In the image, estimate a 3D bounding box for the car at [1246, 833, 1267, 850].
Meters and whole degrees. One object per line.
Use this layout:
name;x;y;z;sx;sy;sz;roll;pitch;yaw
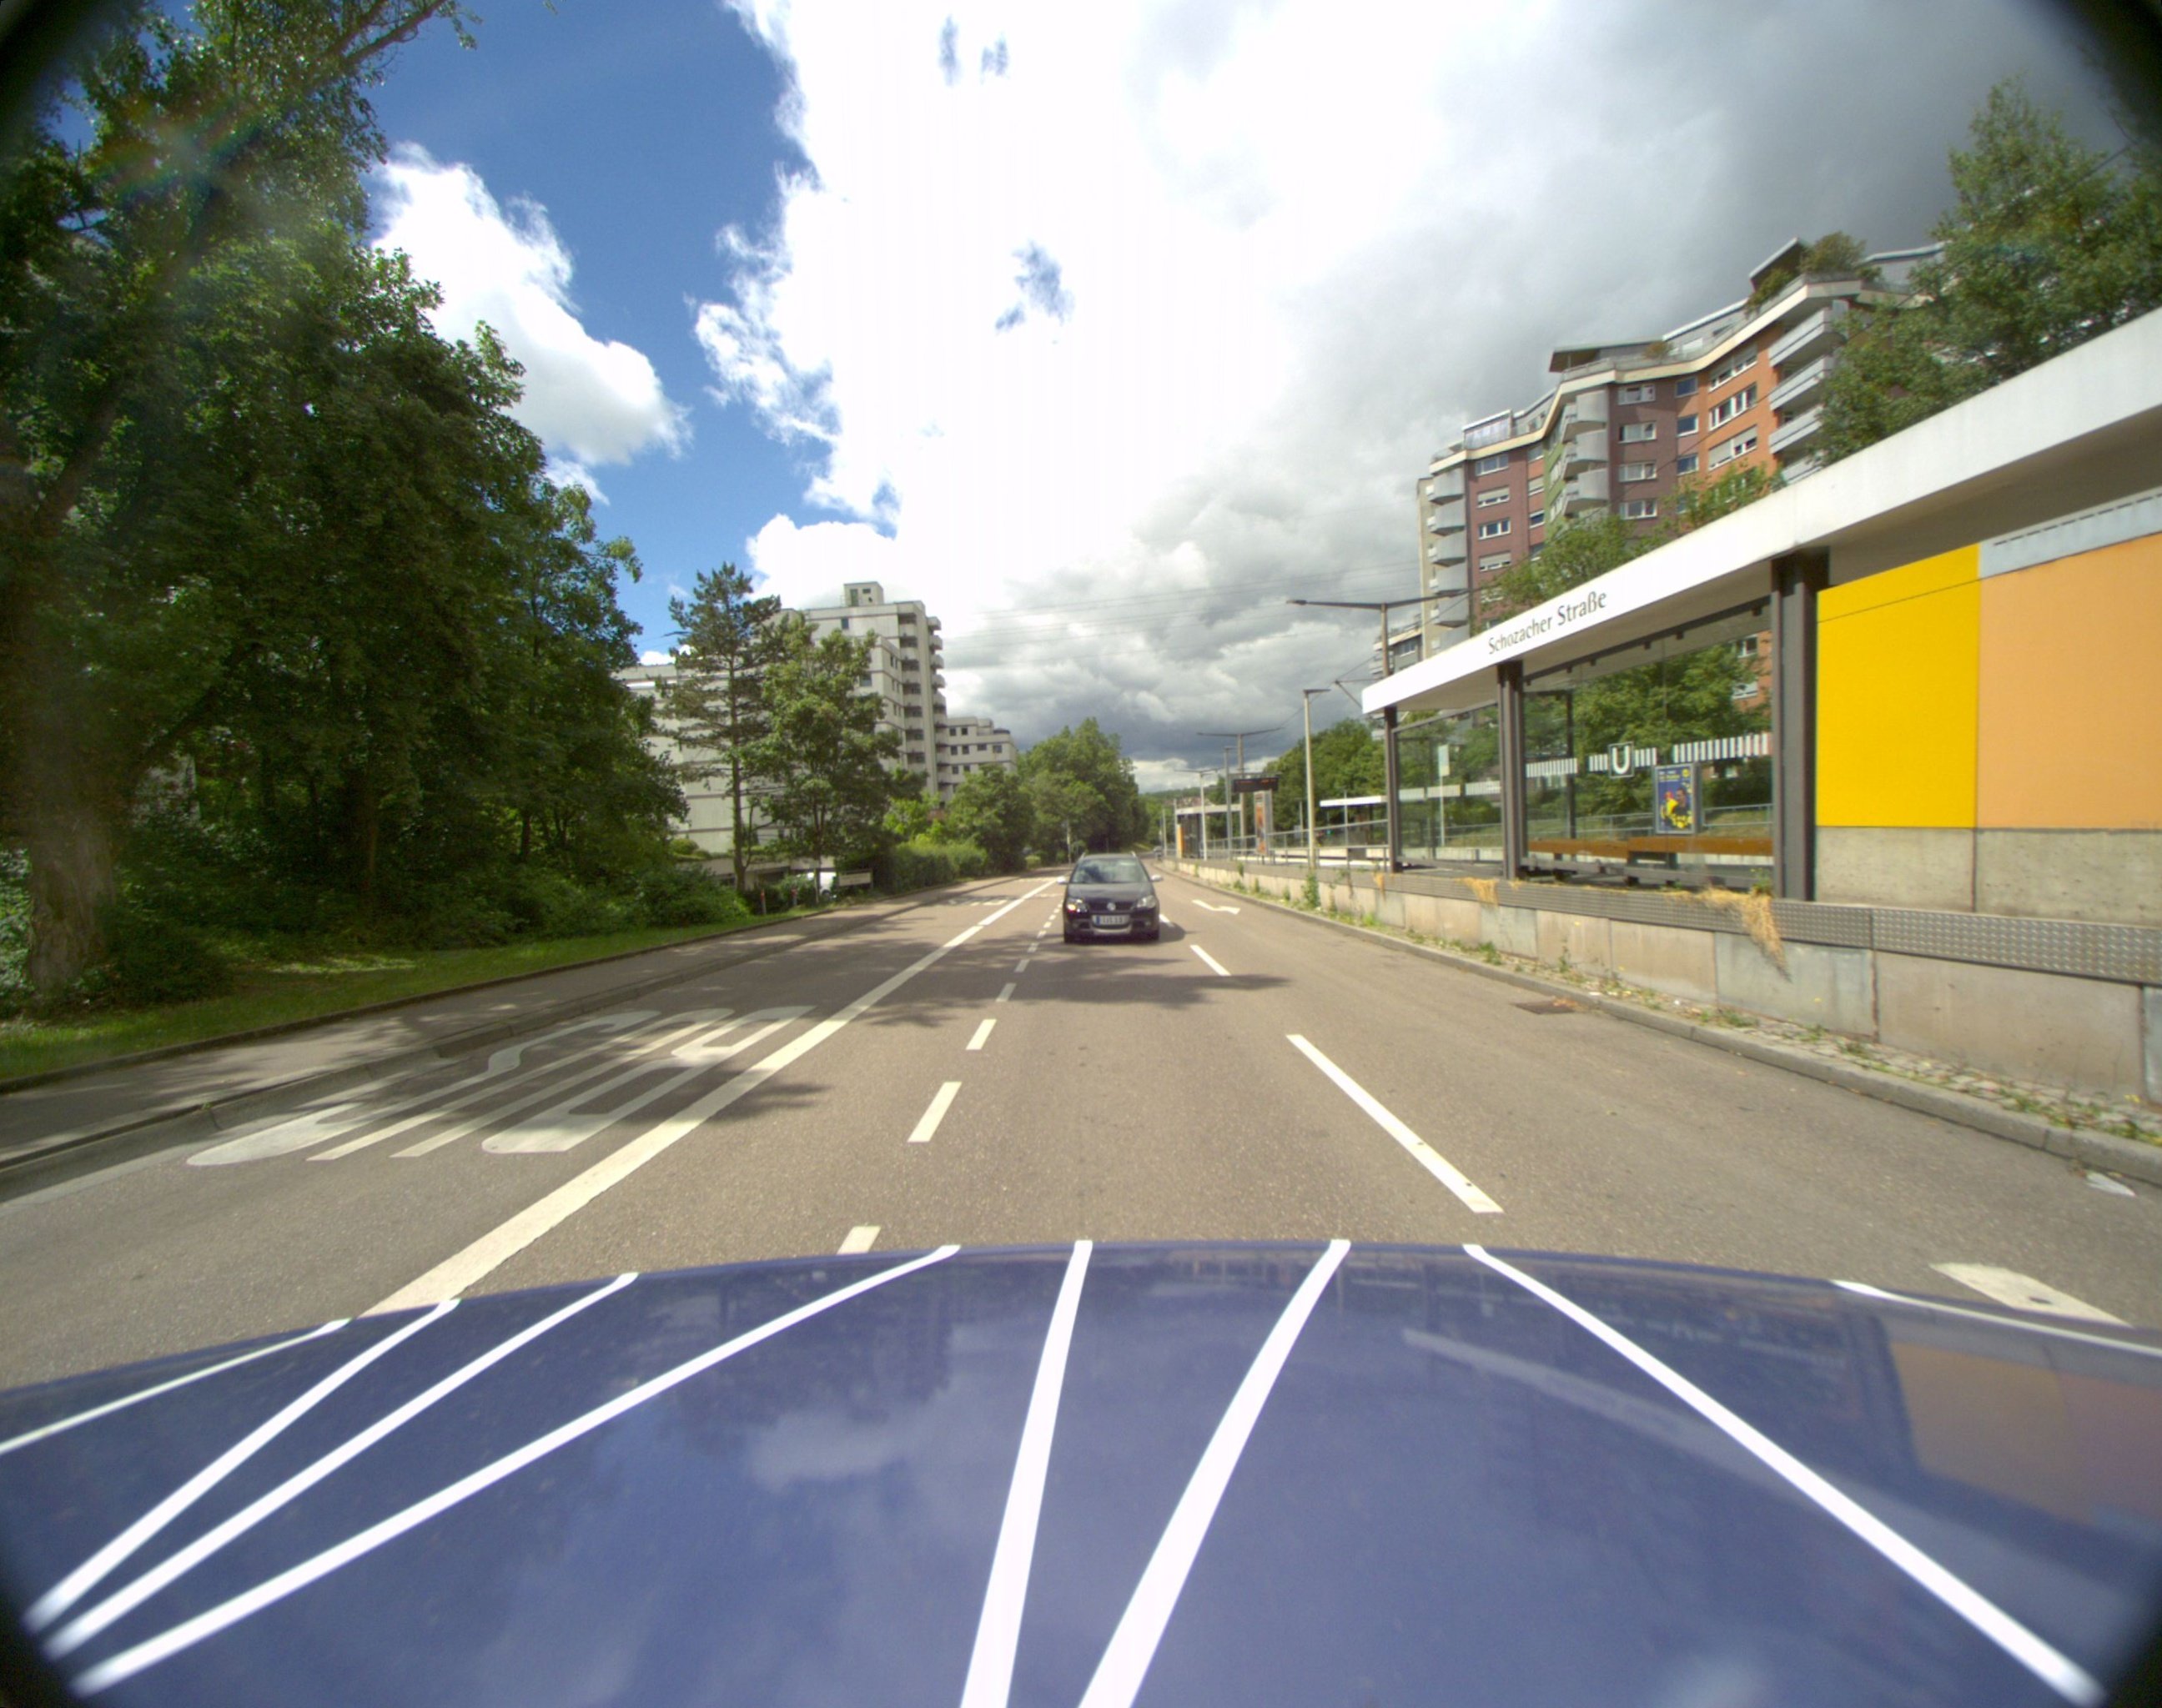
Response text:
car;22.159;-1.596;96.148;1.737;2.002;4.000;-2;1;2

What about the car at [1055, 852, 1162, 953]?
car;0.532;0.770;14.156;1.641;1.521;4.000;-2;1;3

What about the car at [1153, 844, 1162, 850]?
car;17.740;-1.686;175.648;1.821;1.377;4.065;-2;1;2

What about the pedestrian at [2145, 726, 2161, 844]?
pedestrian;15.819;-1.002;11.011;0.354;1.703;0.426;-4;2;-41

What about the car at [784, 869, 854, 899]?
car;-19.887;2.234;57.805;4.543;2.002;2.001;-2;1;7
